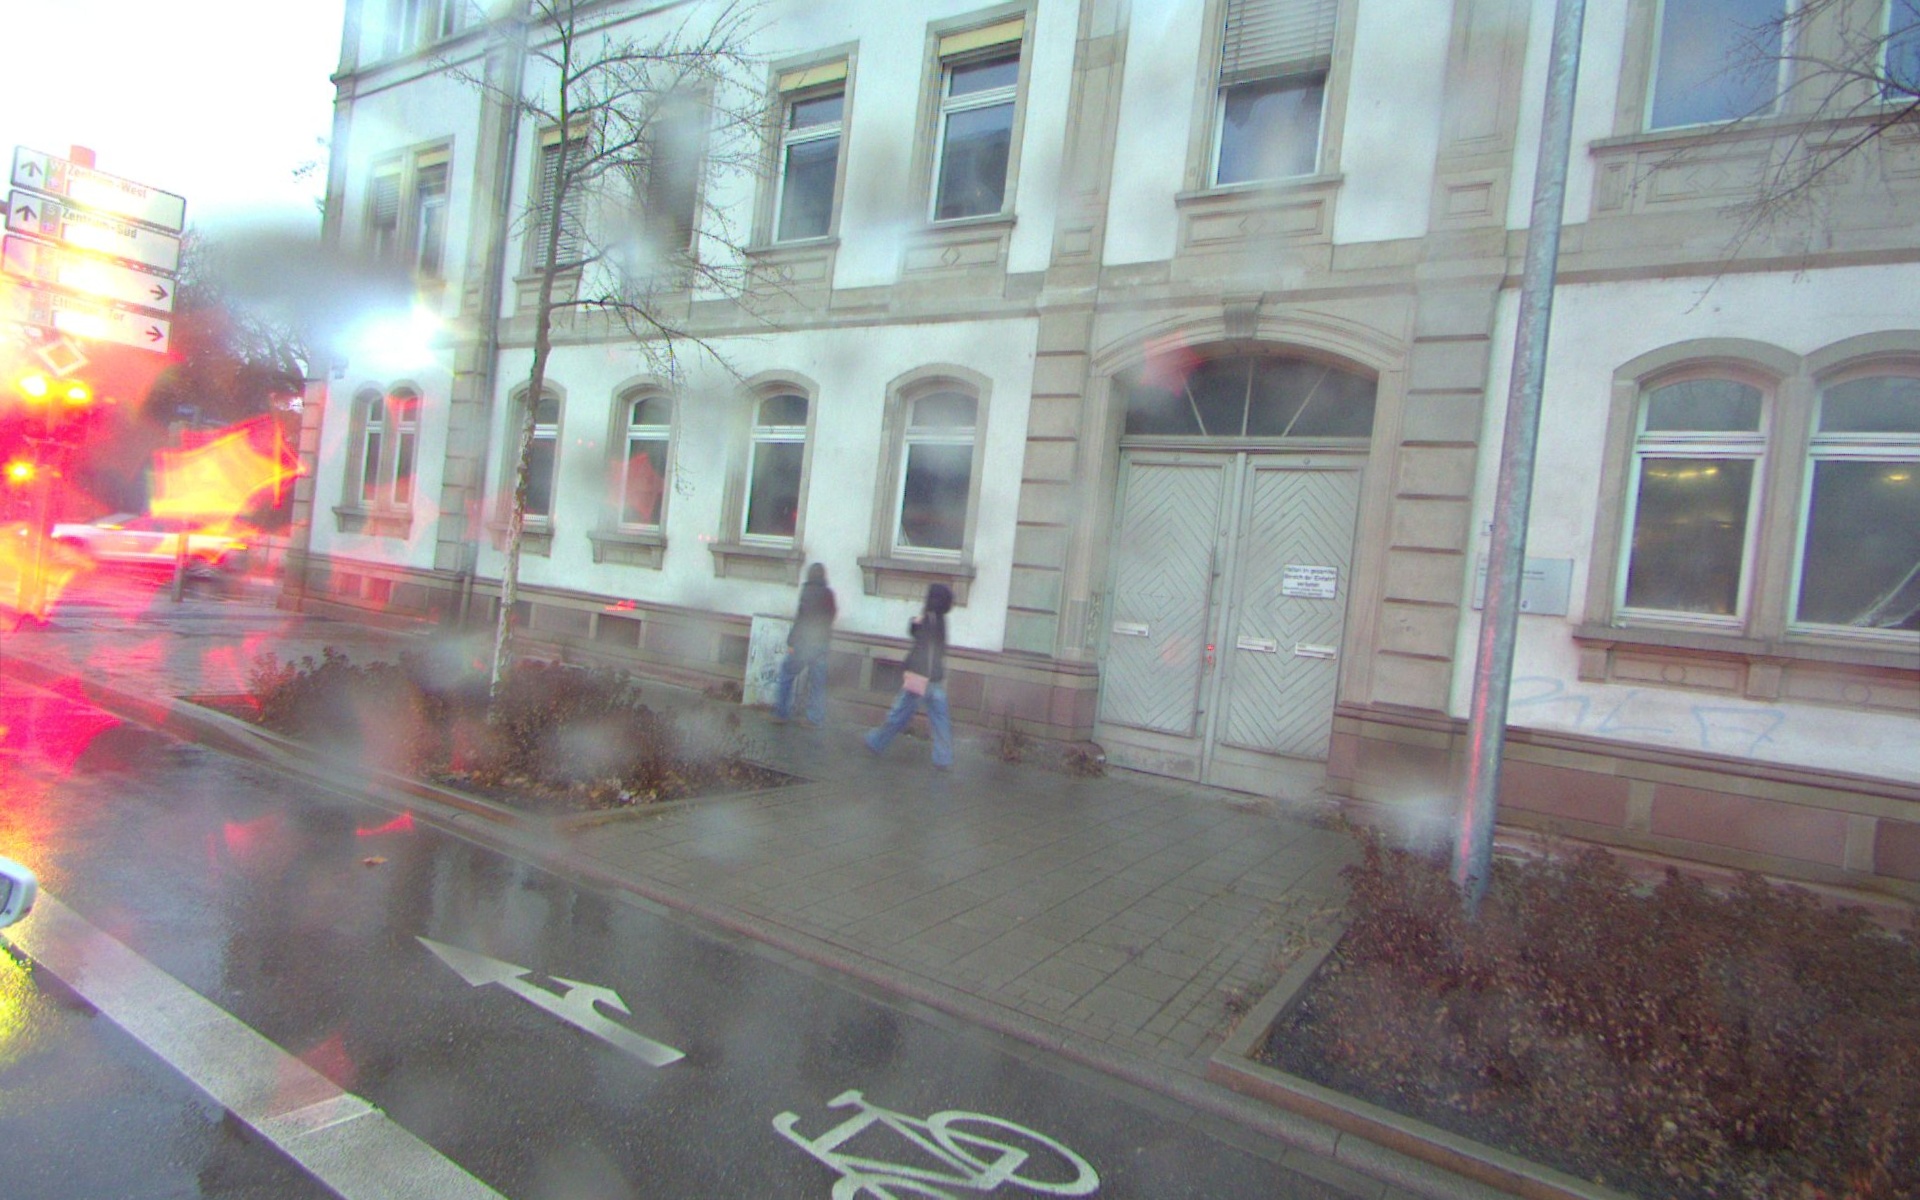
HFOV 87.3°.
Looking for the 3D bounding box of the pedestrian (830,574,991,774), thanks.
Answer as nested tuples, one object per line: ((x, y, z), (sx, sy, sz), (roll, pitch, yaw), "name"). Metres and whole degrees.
((-0.423, 0.628, 8.786), (0.914, 1.564, 0.869), (7, 1, 32), "pedestrian")

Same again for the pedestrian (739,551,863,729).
((-1.624, 0.410, 10.346), (0.695, 1.694, 0.869), (7, 1, 31), "pedestrian")

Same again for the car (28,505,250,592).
((-20.442, -1.244, 25.230), (4.076, 1.546, 1.820), (8, -2, -40), "car")
